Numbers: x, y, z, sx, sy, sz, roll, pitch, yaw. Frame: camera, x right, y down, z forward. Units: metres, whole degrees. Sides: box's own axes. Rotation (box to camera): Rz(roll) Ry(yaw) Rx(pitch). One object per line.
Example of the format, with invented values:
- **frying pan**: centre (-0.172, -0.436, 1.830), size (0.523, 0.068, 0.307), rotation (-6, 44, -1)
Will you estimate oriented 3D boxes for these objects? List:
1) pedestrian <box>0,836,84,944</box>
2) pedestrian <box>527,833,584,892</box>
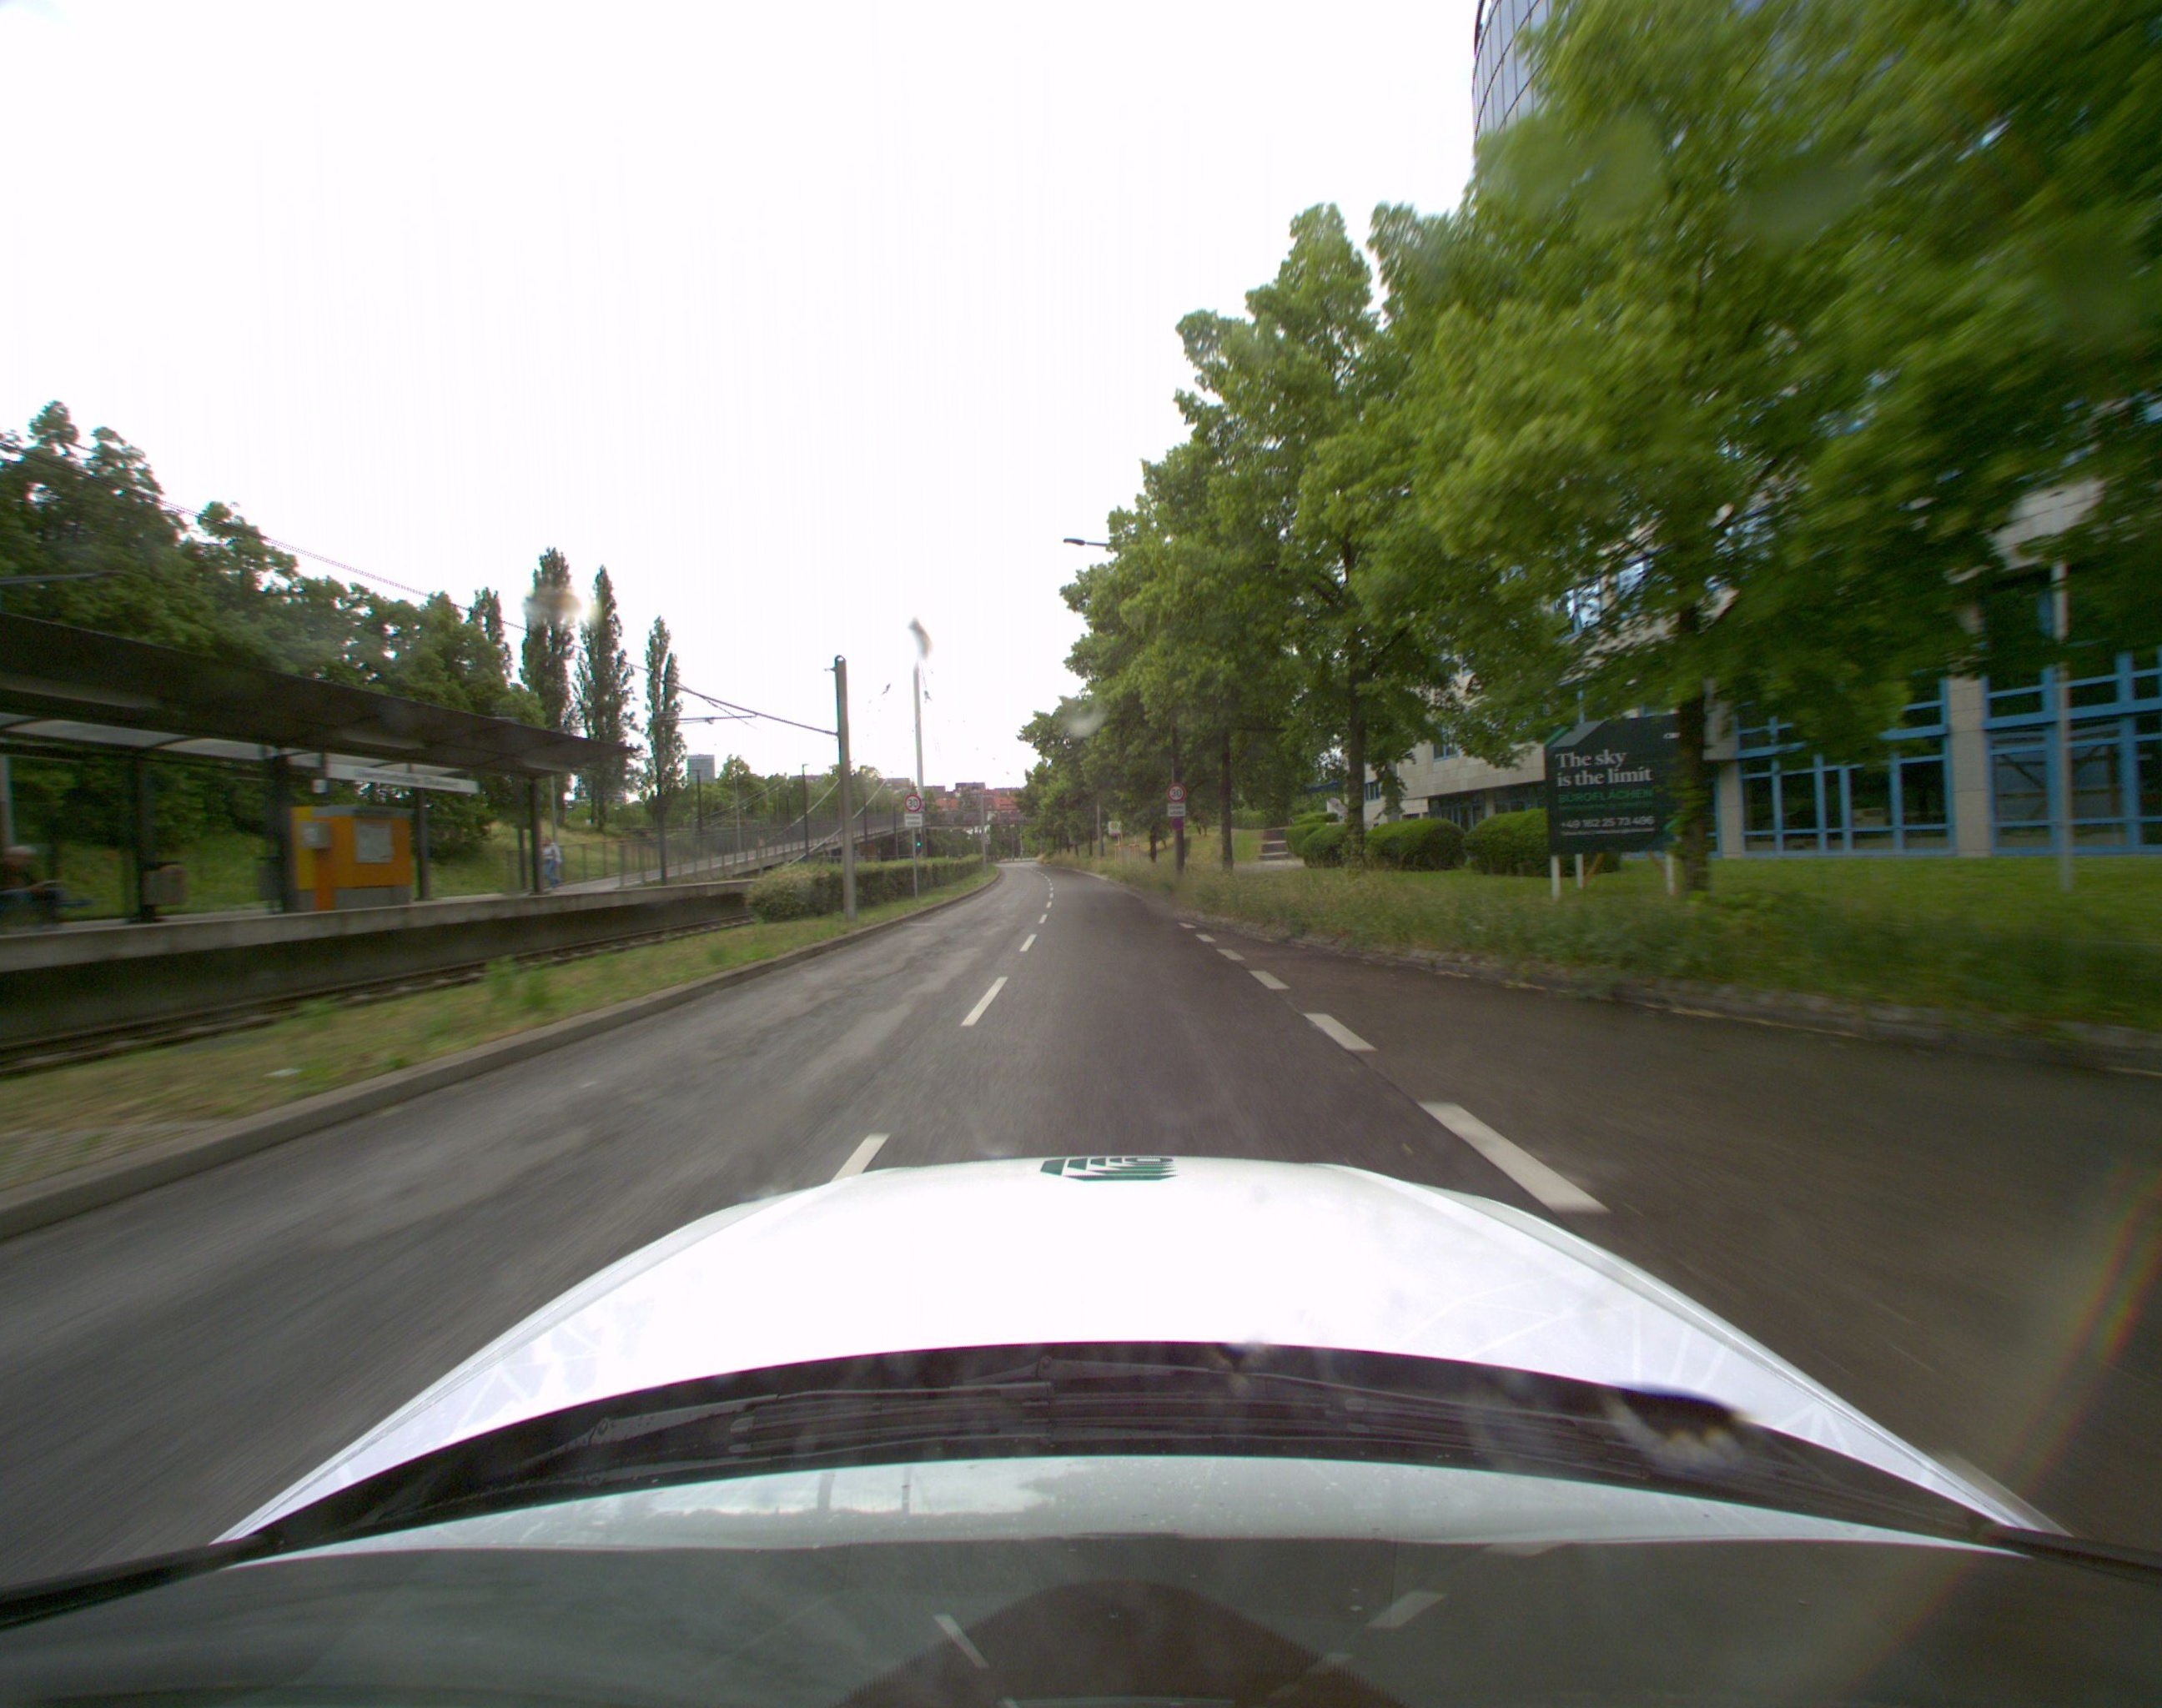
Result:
- **pedestrian**: centre (-13.773, 0.467, 10.579), size (0.751, 1.355, 0.691), rotation (-2, -1, -2)
- **pedestrian**: centre (-15.056, 0.233, 23.362), size (0.933, 1.611, 1.026), rotation (-2, -1, -2)
